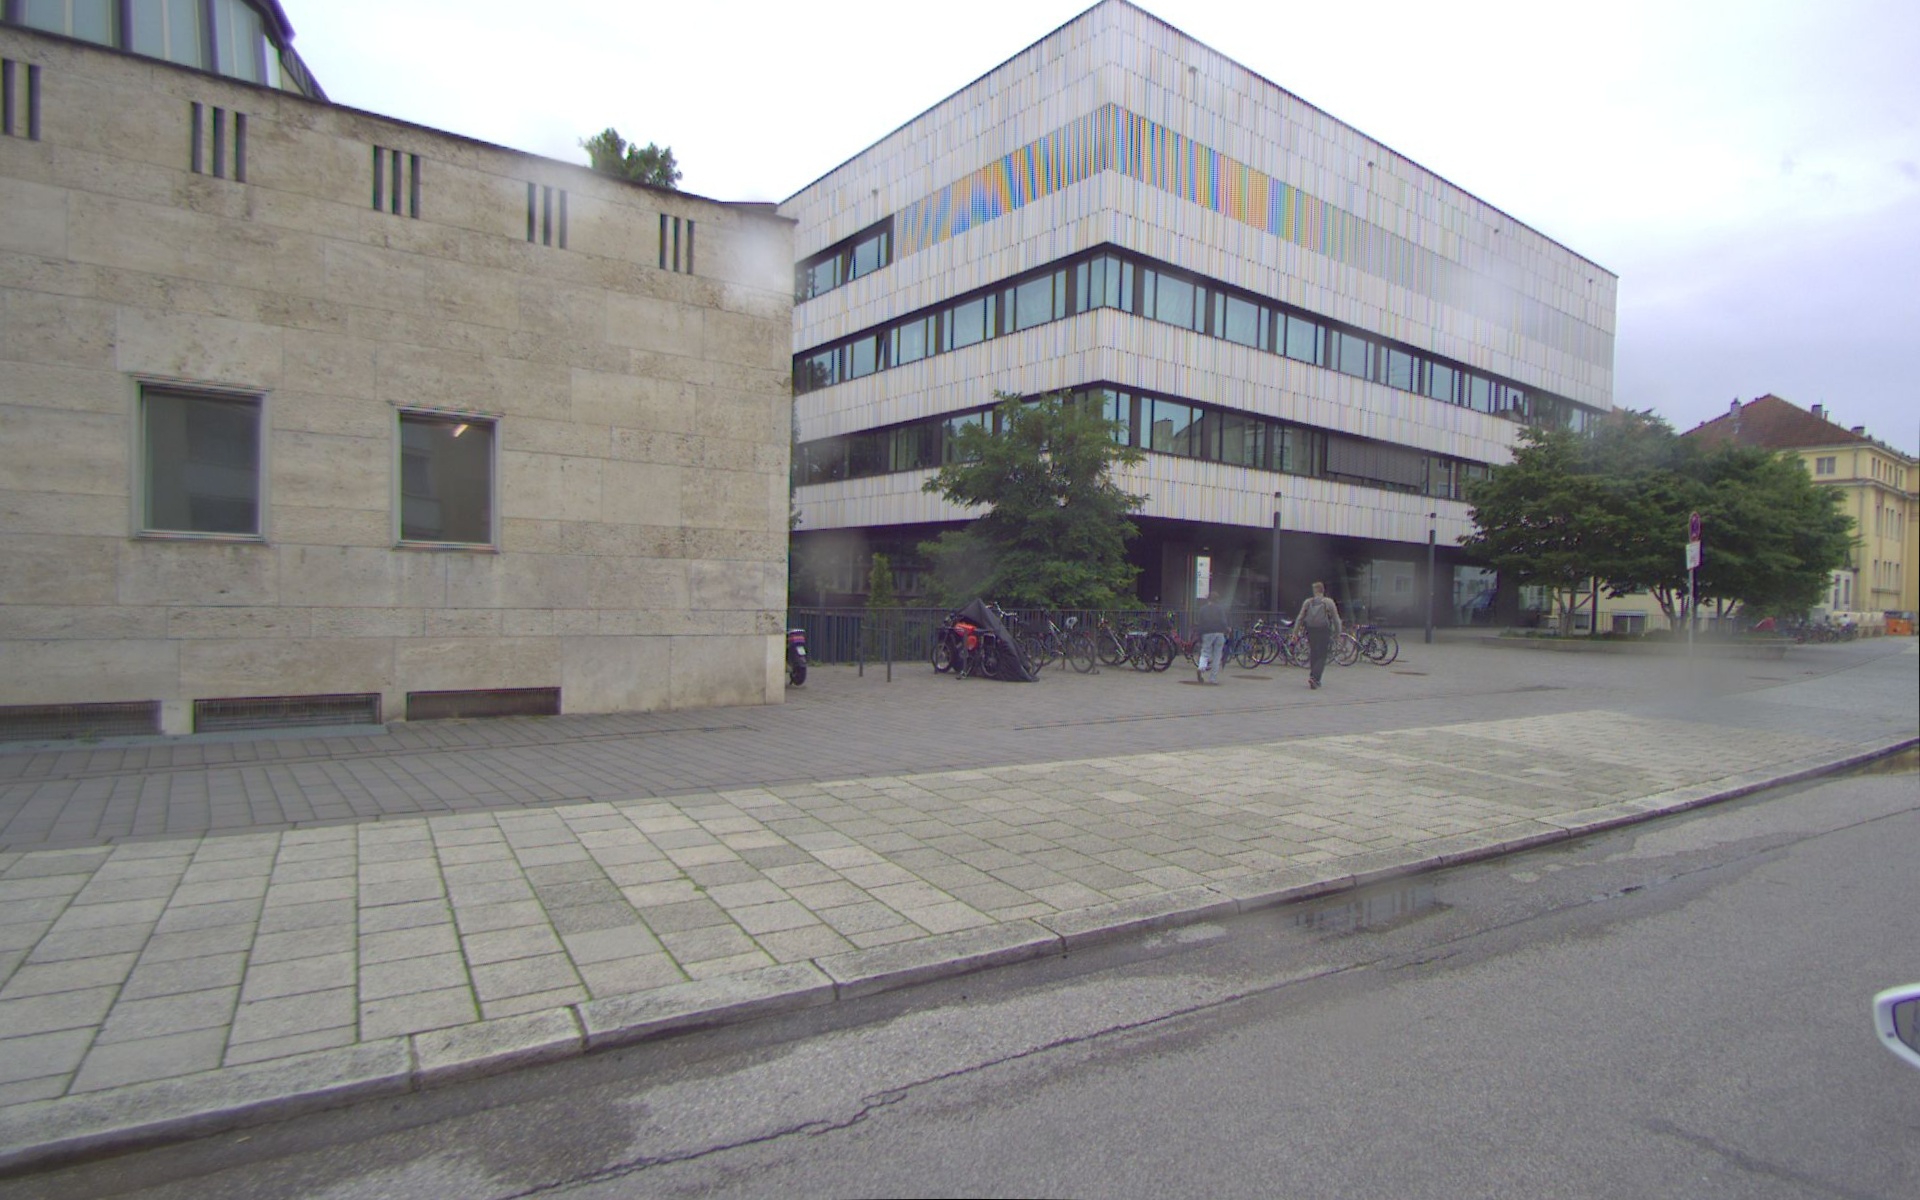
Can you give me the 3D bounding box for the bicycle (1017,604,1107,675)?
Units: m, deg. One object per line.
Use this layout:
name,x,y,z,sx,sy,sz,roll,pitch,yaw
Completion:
bicycle,1.866,0.703,18.686,0.609,1.126,2.037,0,3,-27

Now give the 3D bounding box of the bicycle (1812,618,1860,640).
bicycle,49.770,1.638,57.094,0.670,1.107,1.892,0,4,-34

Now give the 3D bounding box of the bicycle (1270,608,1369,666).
bicycle,8.123,0.811,22.776,0.612,1.126,2.027,-1,4,-41

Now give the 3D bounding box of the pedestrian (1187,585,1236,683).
pedestrian,4.342,0.566,17.354,0.632,1.623,0.605,4,3,27

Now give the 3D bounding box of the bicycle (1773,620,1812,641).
bicycle,40.733,1.485,49.143,0.435,0.874,1.361,0,4,-37

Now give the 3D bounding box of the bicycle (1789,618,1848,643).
bicycle,46.392,1.644,54.328,0.575,1.150,2.295,0,4,-34

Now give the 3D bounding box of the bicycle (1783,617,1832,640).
bicycle,45.277,1.506,53.686,0.534,1.043,1.855,0,4,-34

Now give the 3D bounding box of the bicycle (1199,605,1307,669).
bicycle,5.958,0.723,20.518,0.613,1.126,2.024,-1,4,-45

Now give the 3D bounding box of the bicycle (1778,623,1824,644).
bicycle,43.138,1.726,51.521,0.589,0.929,1.664,0,3,-34

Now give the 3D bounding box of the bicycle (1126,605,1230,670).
bicycle,4.390,0.731,20.373,0.613,1.126,2.024,-1,4,-45

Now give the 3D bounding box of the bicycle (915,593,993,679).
bicycle,-0.121,0.561,16.451,0.459,1.277,1.438,0,4,-38

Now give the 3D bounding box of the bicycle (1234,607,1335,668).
bicycle,6.988,0.787,21.734,0.612,1.126,2.027,-1,4,-41

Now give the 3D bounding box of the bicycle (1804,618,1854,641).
bicycle,48.504,1.624,56.076,0.567,1.147,1.944,0,4,-34

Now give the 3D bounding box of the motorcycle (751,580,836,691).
motorcycle,-2.369,0.461,14.146,0.510,1.424,1.553,0,4,-36

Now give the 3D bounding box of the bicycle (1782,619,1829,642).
bicycle,44.399,1.577,52.747,0.502,1.047,1.779,0,4,-34

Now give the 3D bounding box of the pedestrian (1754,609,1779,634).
pedestrian,39.917,1.050,49.710,1.031,1.179,0.712,0,4,-40

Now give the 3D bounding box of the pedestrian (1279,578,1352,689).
pedestrian,6.120,0.562,17.266,0.777,1.806,1.010,5,2,41

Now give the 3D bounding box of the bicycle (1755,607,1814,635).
bicycle,41.610,1.029,50.711,0.779,1.244,2.091,0,4,-34

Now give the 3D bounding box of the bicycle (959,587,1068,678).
bicycle,0.890,0.518,17.334,0.608,1.370,2.081,0,4,-38

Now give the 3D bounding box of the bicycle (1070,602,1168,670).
bicycle,3.041,0.663,19.432,0.610,1.126,2.032,0,4,-34

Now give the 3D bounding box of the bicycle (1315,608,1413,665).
bicycle,9.430,0.832,23.530,0.612,1.126,2.027,-1,4,-41

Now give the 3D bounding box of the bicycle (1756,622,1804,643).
bicycle,39.805,1.561,48.749,0.435,0.874,1.706,0,4,-37
